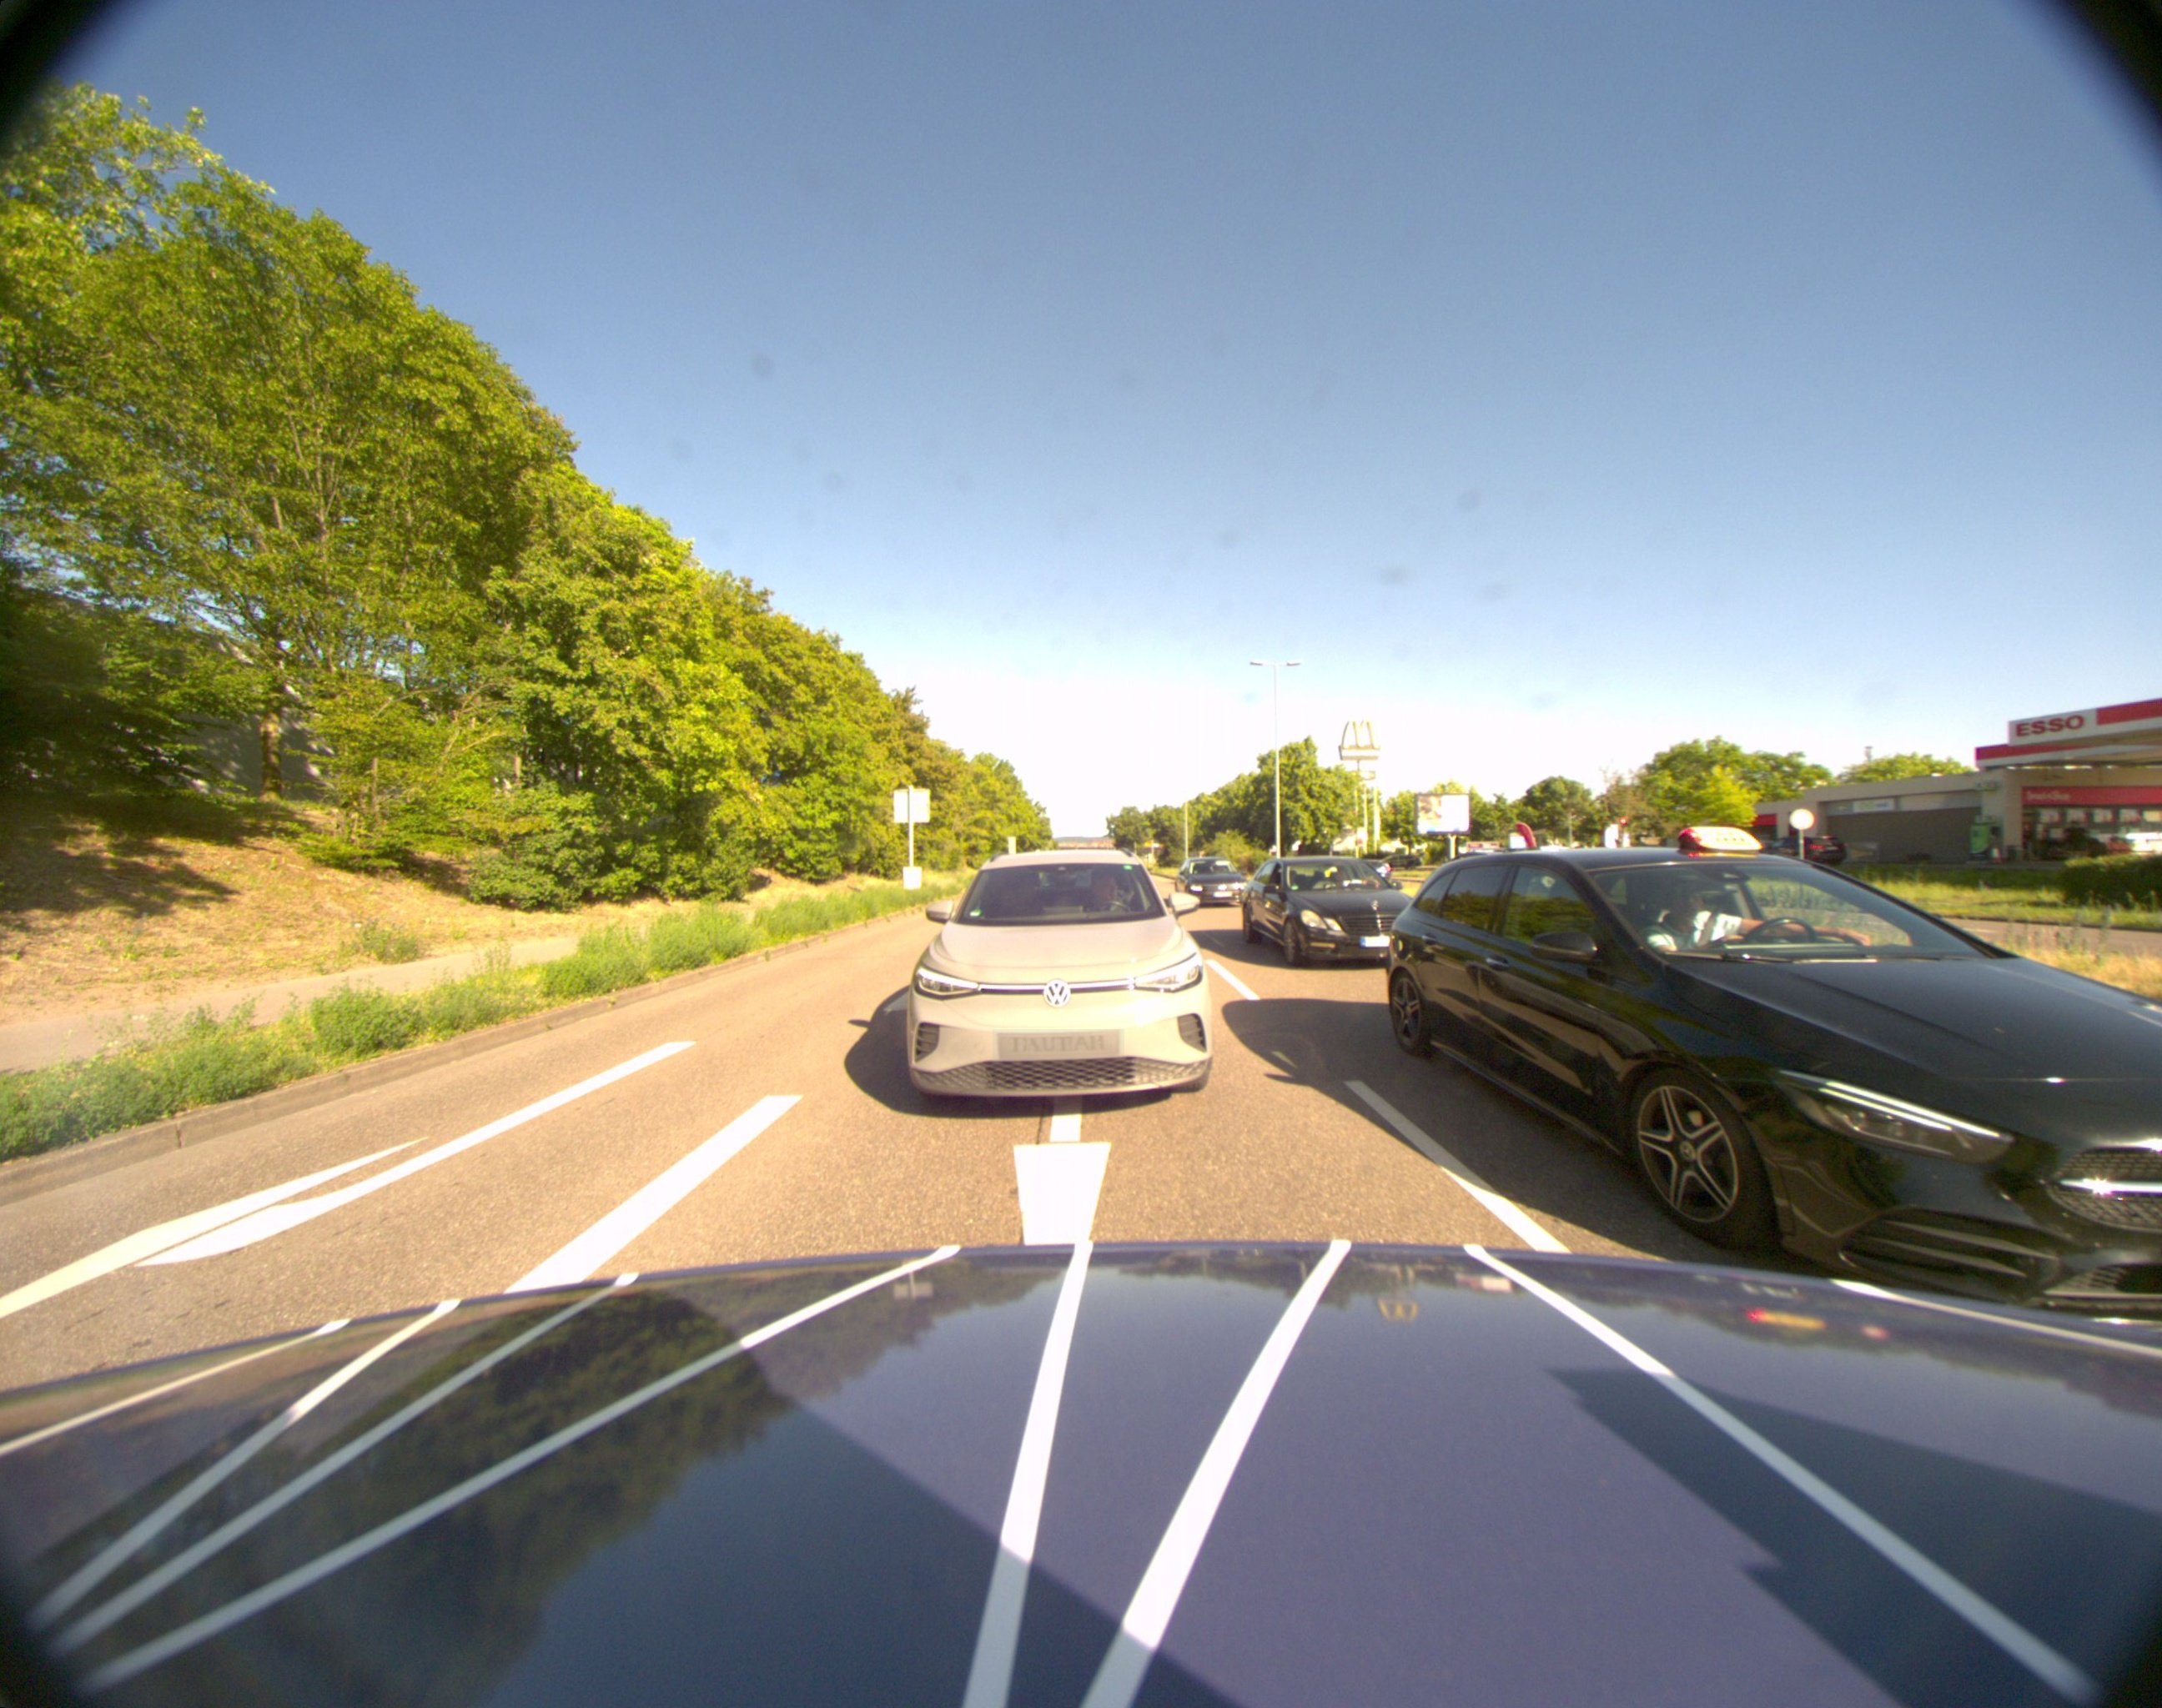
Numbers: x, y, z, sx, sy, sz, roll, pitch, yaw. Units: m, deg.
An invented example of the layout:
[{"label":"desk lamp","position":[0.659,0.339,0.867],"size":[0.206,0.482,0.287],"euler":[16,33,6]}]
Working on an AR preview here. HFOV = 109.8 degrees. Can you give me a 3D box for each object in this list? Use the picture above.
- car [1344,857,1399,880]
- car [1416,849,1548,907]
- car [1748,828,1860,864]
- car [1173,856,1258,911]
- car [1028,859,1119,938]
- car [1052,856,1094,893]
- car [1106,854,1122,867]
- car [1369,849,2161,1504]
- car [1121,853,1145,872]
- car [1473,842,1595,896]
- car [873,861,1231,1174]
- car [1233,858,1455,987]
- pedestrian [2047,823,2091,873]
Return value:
[{"label":"car","position":[19.520,0.914,51.261],"size":[1.908,1.437,4.607],"euler":[1,0,0]},{"label":"car","position":[12.725,0.708,24.457],"size":[1.884,1.680,4.436],"euler":[-1,0,0]},{"label":"car","position":[37.698,-0.390,39.784],"size":[1.998,1.759,4.118],"euler":[-1,0,2]},{"label":"car","position":[3.981,0.829,23.183],"size":[1.862,1.472,4.403],"euler":[-1,0,1]},{"label":"car","position":[-0.115,0.899,16.969],"size":[1.765,1.503,3.760],"euler":[-2,0,1]},{"label":"car","position":[-0.331,0.886,34.608],"size":[1.765,1.503,3.760],"euler":[-2,0,1]},{"label":"car","position":[4.183,0.836,96.261],"size":[1.862,1.578,4.403],"euler":[-1,0,1]},{"label":"car","position":[3.163,0.810,3.975],"size":[1.804,1.616,4.188],"euler":[-1,0,2]},{"label":"car","position":[4.605,0.762,67.372],"size":[1.862,1.578,4.403],"euler":[-1,0,1]},{"label":"car","position":[18.252,0.543,30.977],"size":[1.998,2.002,5.026],"euler":[1,0,1]},{"label":"car","position":[-0.127,0.899,6.029],"size":[1.871,1.588,3.932],"euler":[-2,0,1]},{"label":"car","position":[3.645,0.850,11.466],"size":[1.862,1.515,4.403],"euler":[-1,0,1]},{"label":"pedestrian","position":[40.497,-0.227,31.141],"size":[0.703,2.002,0.840],"euler":[-1,0,1]}]
